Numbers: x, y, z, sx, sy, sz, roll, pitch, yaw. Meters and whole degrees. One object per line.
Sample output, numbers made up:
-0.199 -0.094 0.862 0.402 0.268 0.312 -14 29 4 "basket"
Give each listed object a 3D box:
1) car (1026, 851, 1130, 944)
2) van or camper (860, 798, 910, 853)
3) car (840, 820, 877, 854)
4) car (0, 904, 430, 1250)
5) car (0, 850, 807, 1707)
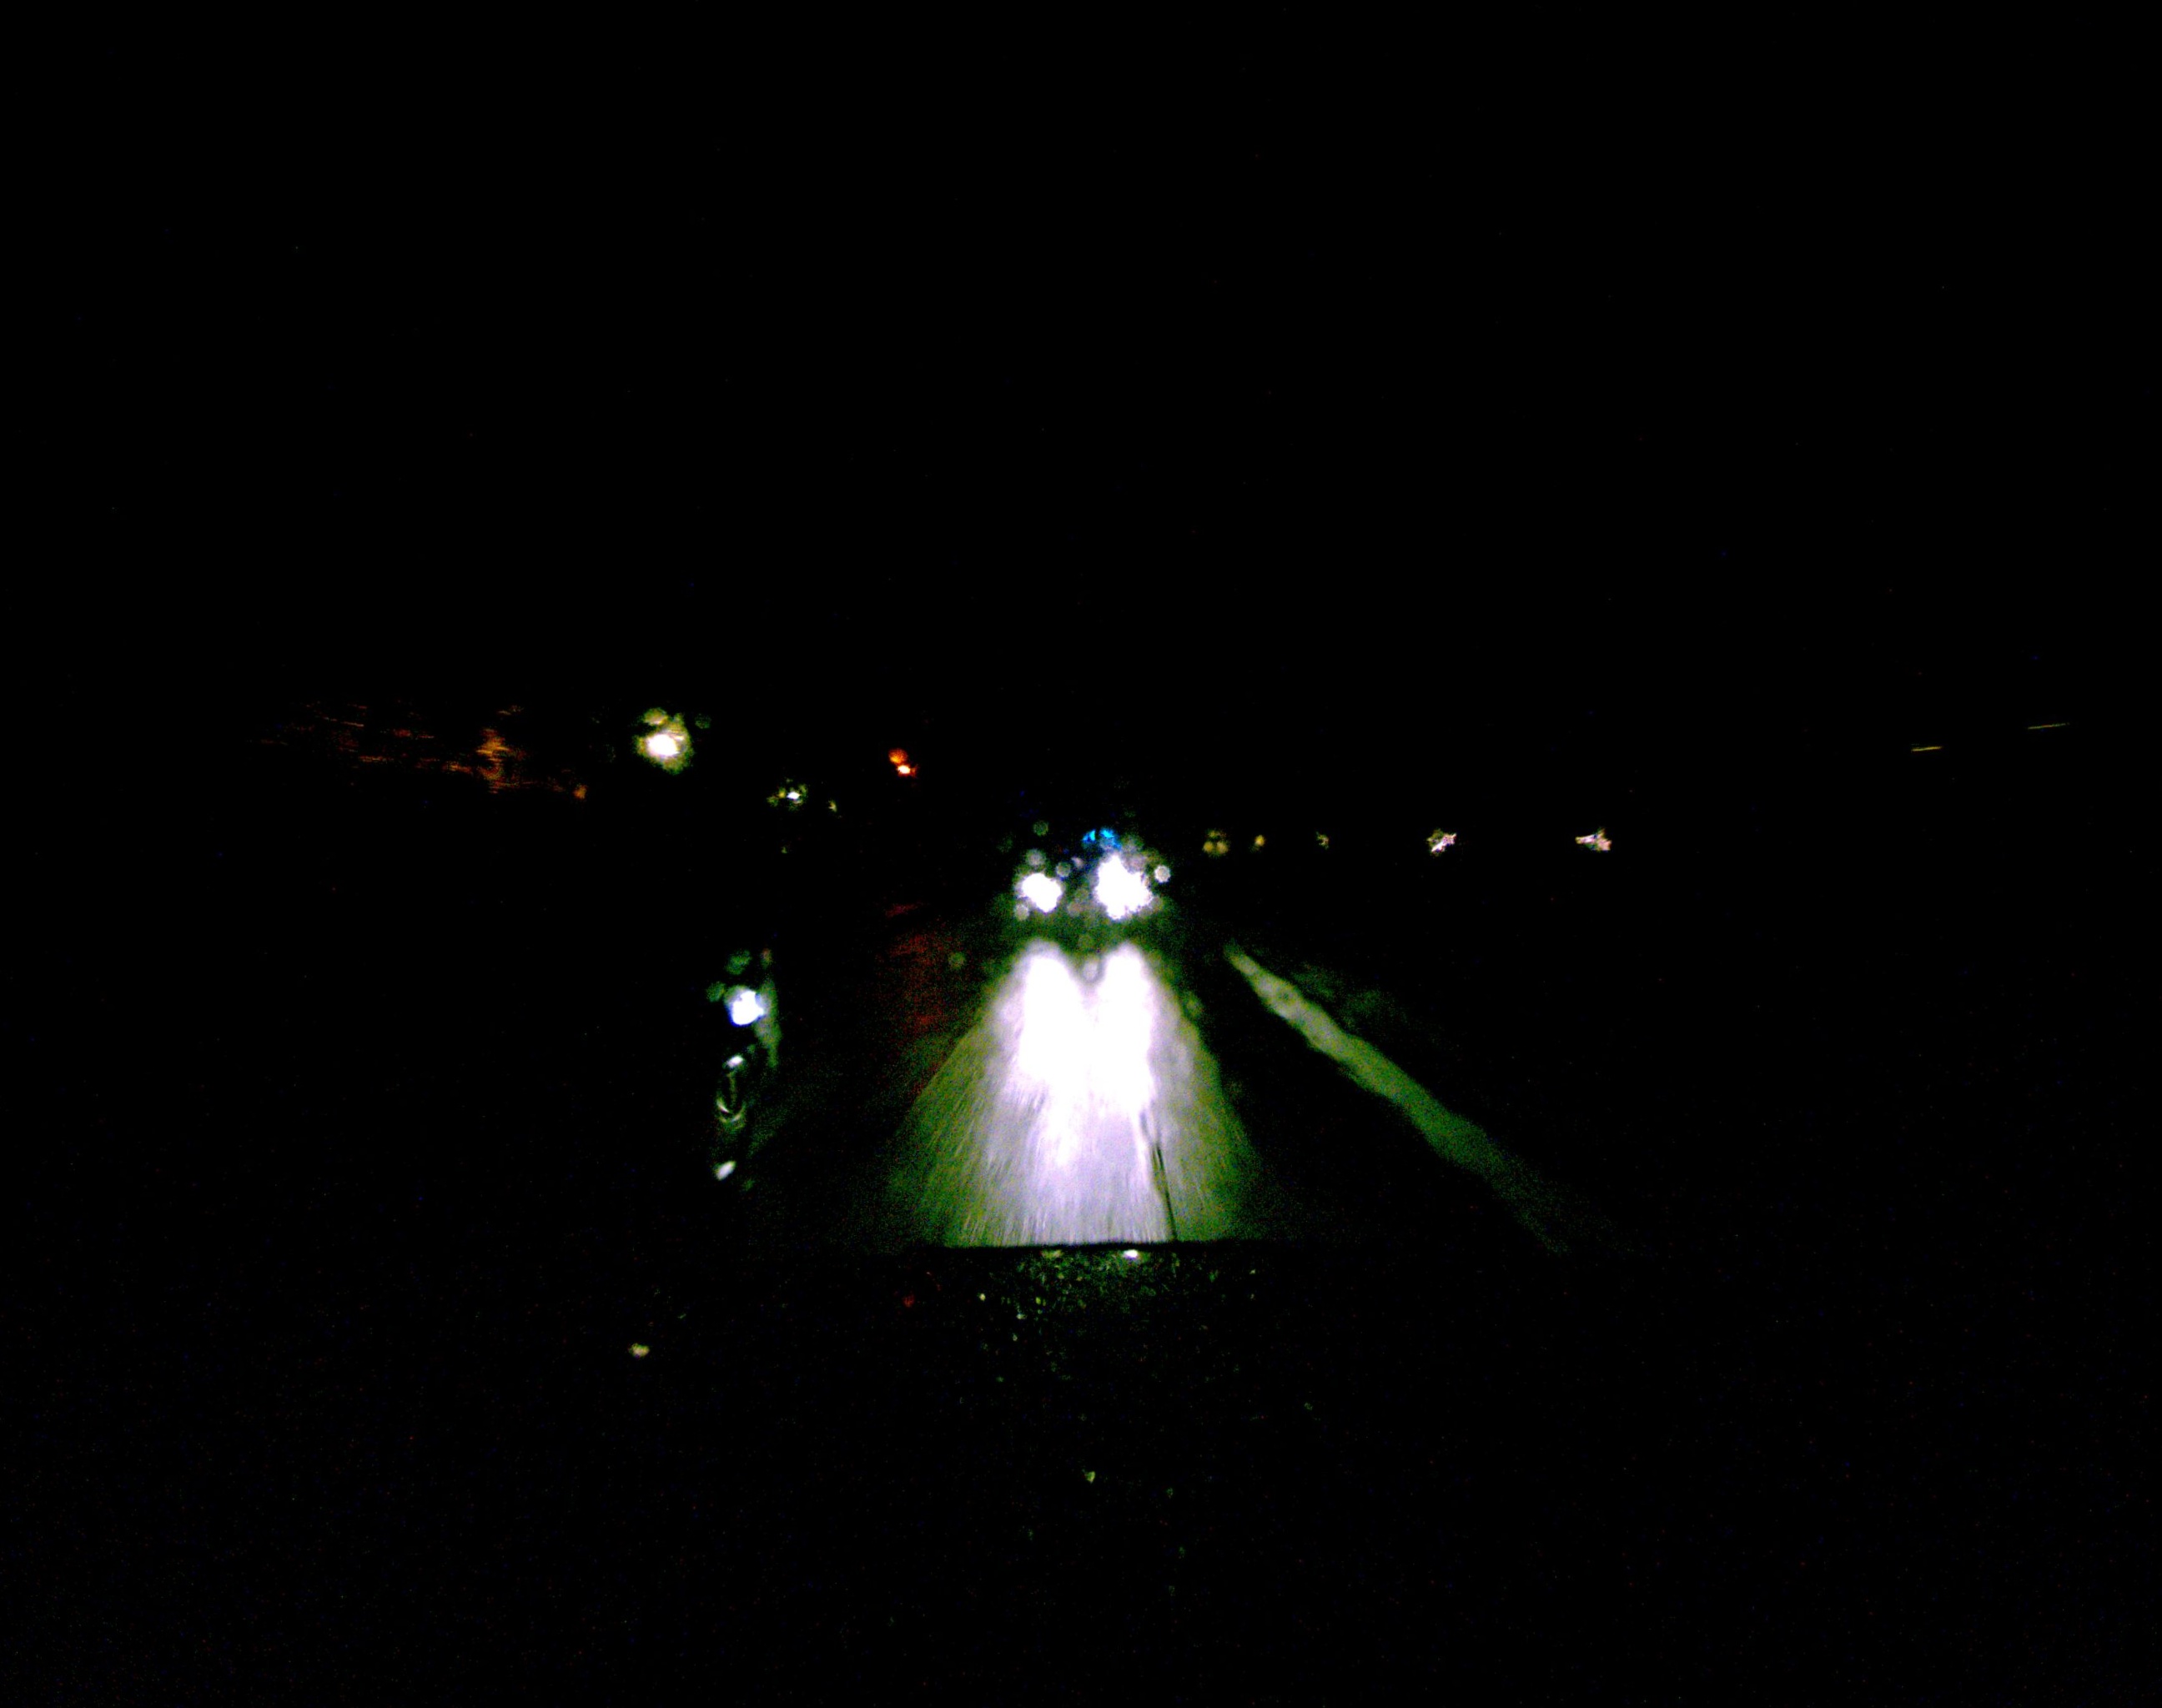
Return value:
0.058 0.787 16.099 1.826 1.573 4.354 -3 1 3 "car"
-11.027 -1.492 42.462 2.416 2.777 5.764 -3 1 -16 "van or camper"
-14.352 -1.064 49.146 2.001 2.002 3.995 -3 1 -14 "car"
-5.853 1.113 3.596 1.789 1.433 4.238 -1 0 1 "car"
-2.607 0.914 2.024 1.839 1.725 4.940 -3 1 0 "car"
